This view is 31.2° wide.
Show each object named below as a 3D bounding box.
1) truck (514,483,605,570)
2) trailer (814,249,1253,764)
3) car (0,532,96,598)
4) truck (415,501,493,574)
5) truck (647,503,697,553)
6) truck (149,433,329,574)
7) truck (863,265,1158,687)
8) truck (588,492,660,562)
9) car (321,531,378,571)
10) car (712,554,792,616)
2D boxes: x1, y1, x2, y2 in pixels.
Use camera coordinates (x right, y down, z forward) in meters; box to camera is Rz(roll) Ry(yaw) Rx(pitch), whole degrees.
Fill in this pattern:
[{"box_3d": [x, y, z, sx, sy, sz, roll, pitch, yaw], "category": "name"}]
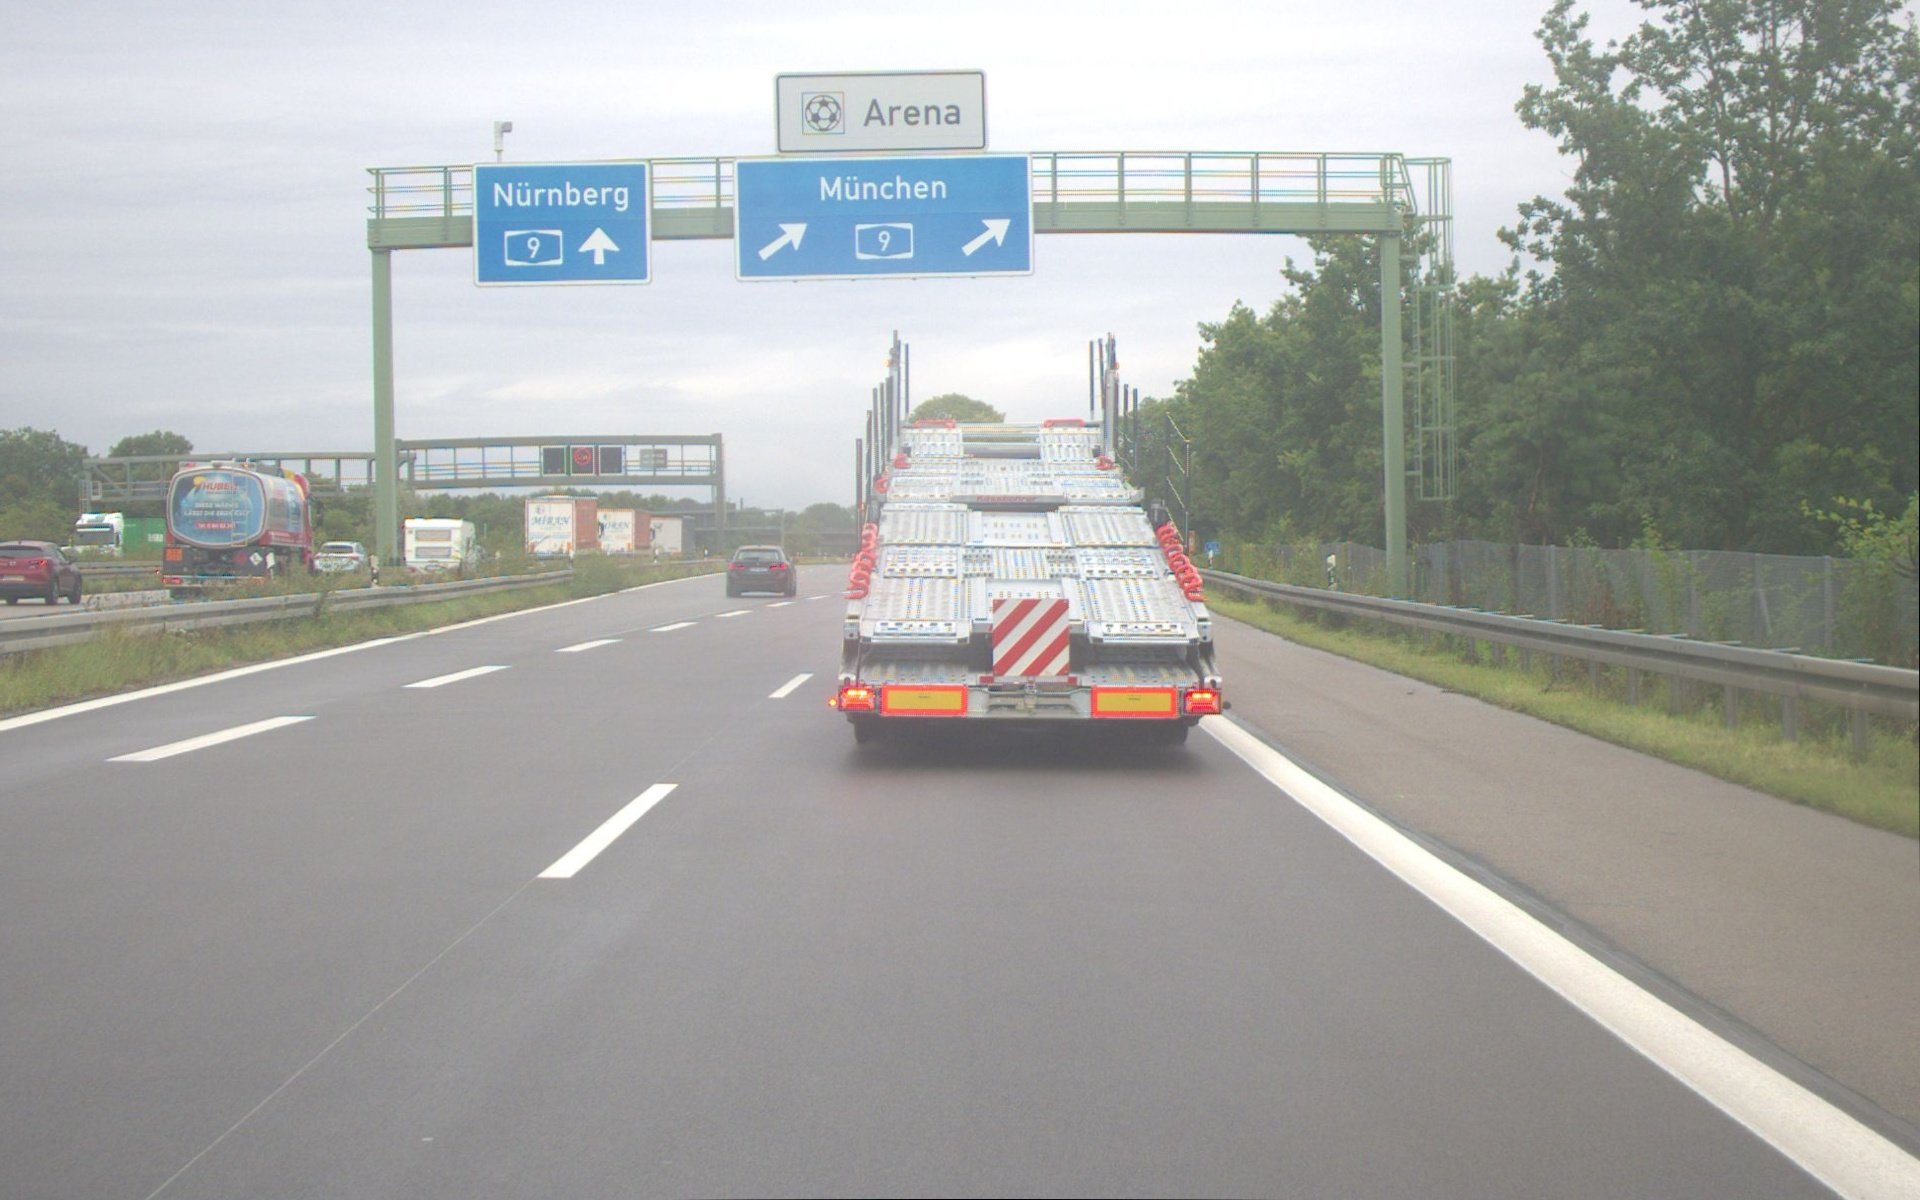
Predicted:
[{"box_3d": [-20.889, -3.842, 180.049, 3.733, 4.402, 10.196, 1, 1, -1], "category": "truck"}, {"box_3d": [0.476, -0.711, 27.322, 2.777, 3.273, 10.407, 1, 1, 0], "category": "trailer"}, {"box_3d": [-22.110, -0.842, 82.557, 1.794, 1.551, 3.827, 1, 1, -1], "category": "car"}, {"box_3d": [-19.217, -2.369, 130.741, 2.243, 2.695, 5.280, 1, 1, -1], "category": "truck"}, {"box_3d": [-22.101, -5.490, 264.211, 3.028, 3.672, 12.150, 1, 1, -1], "category": "truck"}, {"box_3d": [-17.996, -2.377, 86.320, 2.856, 3.353, 8.632, 0, 1, -1], "category": "truck"}, {"box_3d": [0.441, -1.274, 37.088, 2.738, 3.954, 9.129, 1, 1, 0], "category": "truck"}, {"box_3d": [-21.999, -4.803, 225.639, 3.733, 4.402, 11.898, 1, 1, -1], "category": "truck"}, {"box_3d": [-23.629, -1.907, 133.127, 1.682, 1.525, 4.001, 1, 1, -4], "category": "car"}, {"box_3d": [-5.655, -0.427, 93.946, 1.961, 1.632, 5.625, 1, 1, -1], "category": "car"}]
